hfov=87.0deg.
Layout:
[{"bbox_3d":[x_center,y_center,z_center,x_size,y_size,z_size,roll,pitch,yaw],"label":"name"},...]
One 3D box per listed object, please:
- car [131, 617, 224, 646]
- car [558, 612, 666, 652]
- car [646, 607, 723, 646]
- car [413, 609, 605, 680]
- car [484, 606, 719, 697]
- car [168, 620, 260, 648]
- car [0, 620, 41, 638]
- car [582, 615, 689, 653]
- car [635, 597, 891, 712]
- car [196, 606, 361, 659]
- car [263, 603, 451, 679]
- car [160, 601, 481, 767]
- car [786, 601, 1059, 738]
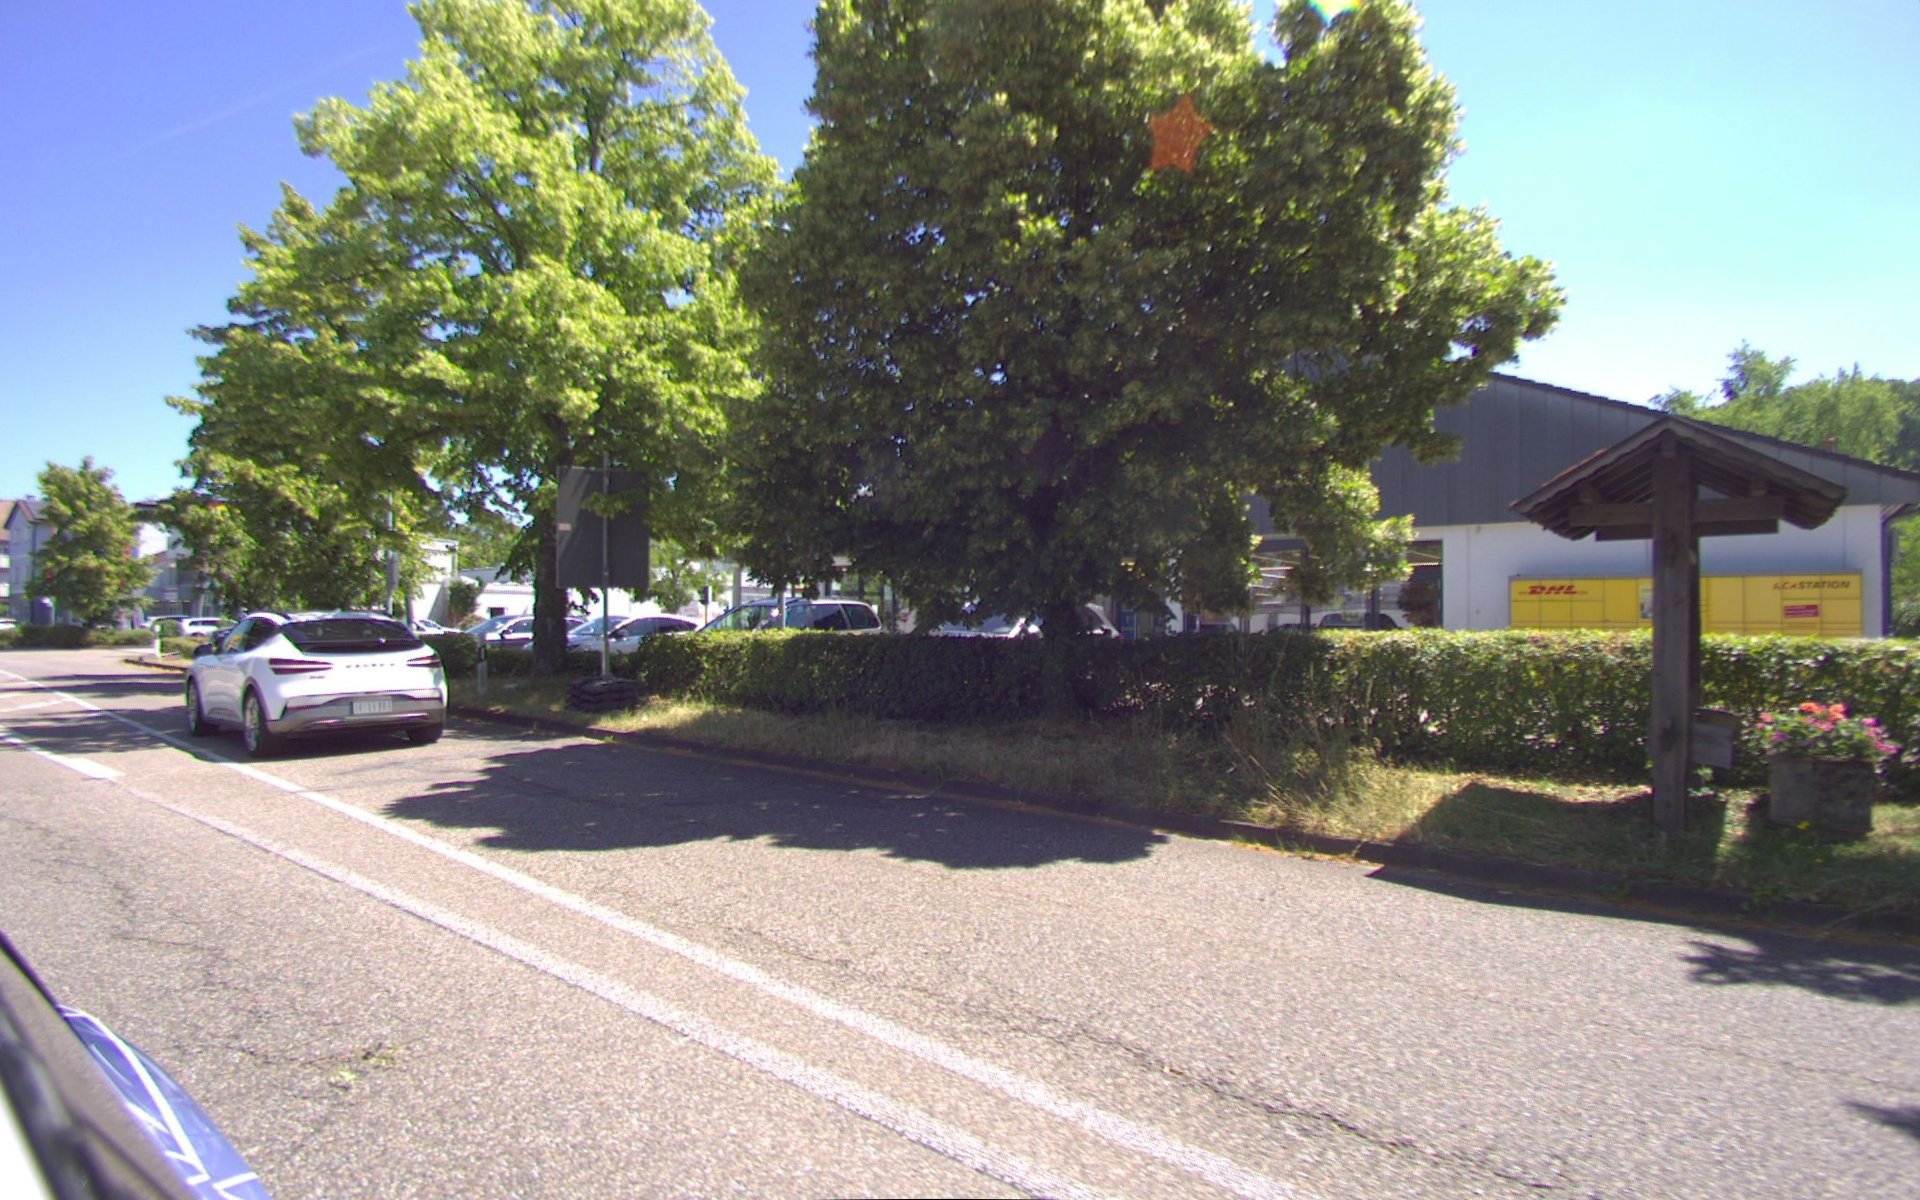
[{"bbox_3d":[-48.168,1.928,62.387,4.471,1.676,2.005,0,-1,-36],"label":"car"},{"bbox_3d":[-15.842,1.429,46.266,2.109,1.667,4.275,0,0,35],"label":"car"},{"bbox_3d":[-19.882,1.875,72.957,5.891,2.647,2.259,0,0,38],"label":"car"},{"bbox_3d":[-11.242,1.050,25.432,1.931,1.536,3.991,-1,0,38],"label":"car"},{"bbox_3d":[-7.462,0.988,21.450,1.892,1.632,4.359,-1,0,38],"label":"car"},{"bbox_3d":[-42.241,1.915,57.306,4.130,1.457,1.983,0,-1,-39],"label":"car"},{"bbox_3d":[-76.418,2.314,80.739,1.920,1.450,4.338,0,-1,12],"label":"car"},{"bbox_3d":[-14.205,1.451,44.507,1.823,1.541,4.275,0,0,35],"label":"car"},{"bbox_3d":[-3.485,0.875,18.645,2.069,1.789,4.359,-1,0,38],"label":"car"},{"bbox_3d":[-24.703,1.122,36.807,2.098,1.775,4.656,0,0,43],"label":"car"},{"bbox_3d":[-17.452,1.108,29.477,1.901,1.995,4.317,0,0,36],"label":"car"},{"bbox_3d":[-7.851,0.848,12.256,4.472,1.600,2.073,-1,1,41],"label":"car"},{"bbox_3d":[-0.450,0.959,16.199,2.069,1.789,4.359,-1,0,38],"label":"car"}]
